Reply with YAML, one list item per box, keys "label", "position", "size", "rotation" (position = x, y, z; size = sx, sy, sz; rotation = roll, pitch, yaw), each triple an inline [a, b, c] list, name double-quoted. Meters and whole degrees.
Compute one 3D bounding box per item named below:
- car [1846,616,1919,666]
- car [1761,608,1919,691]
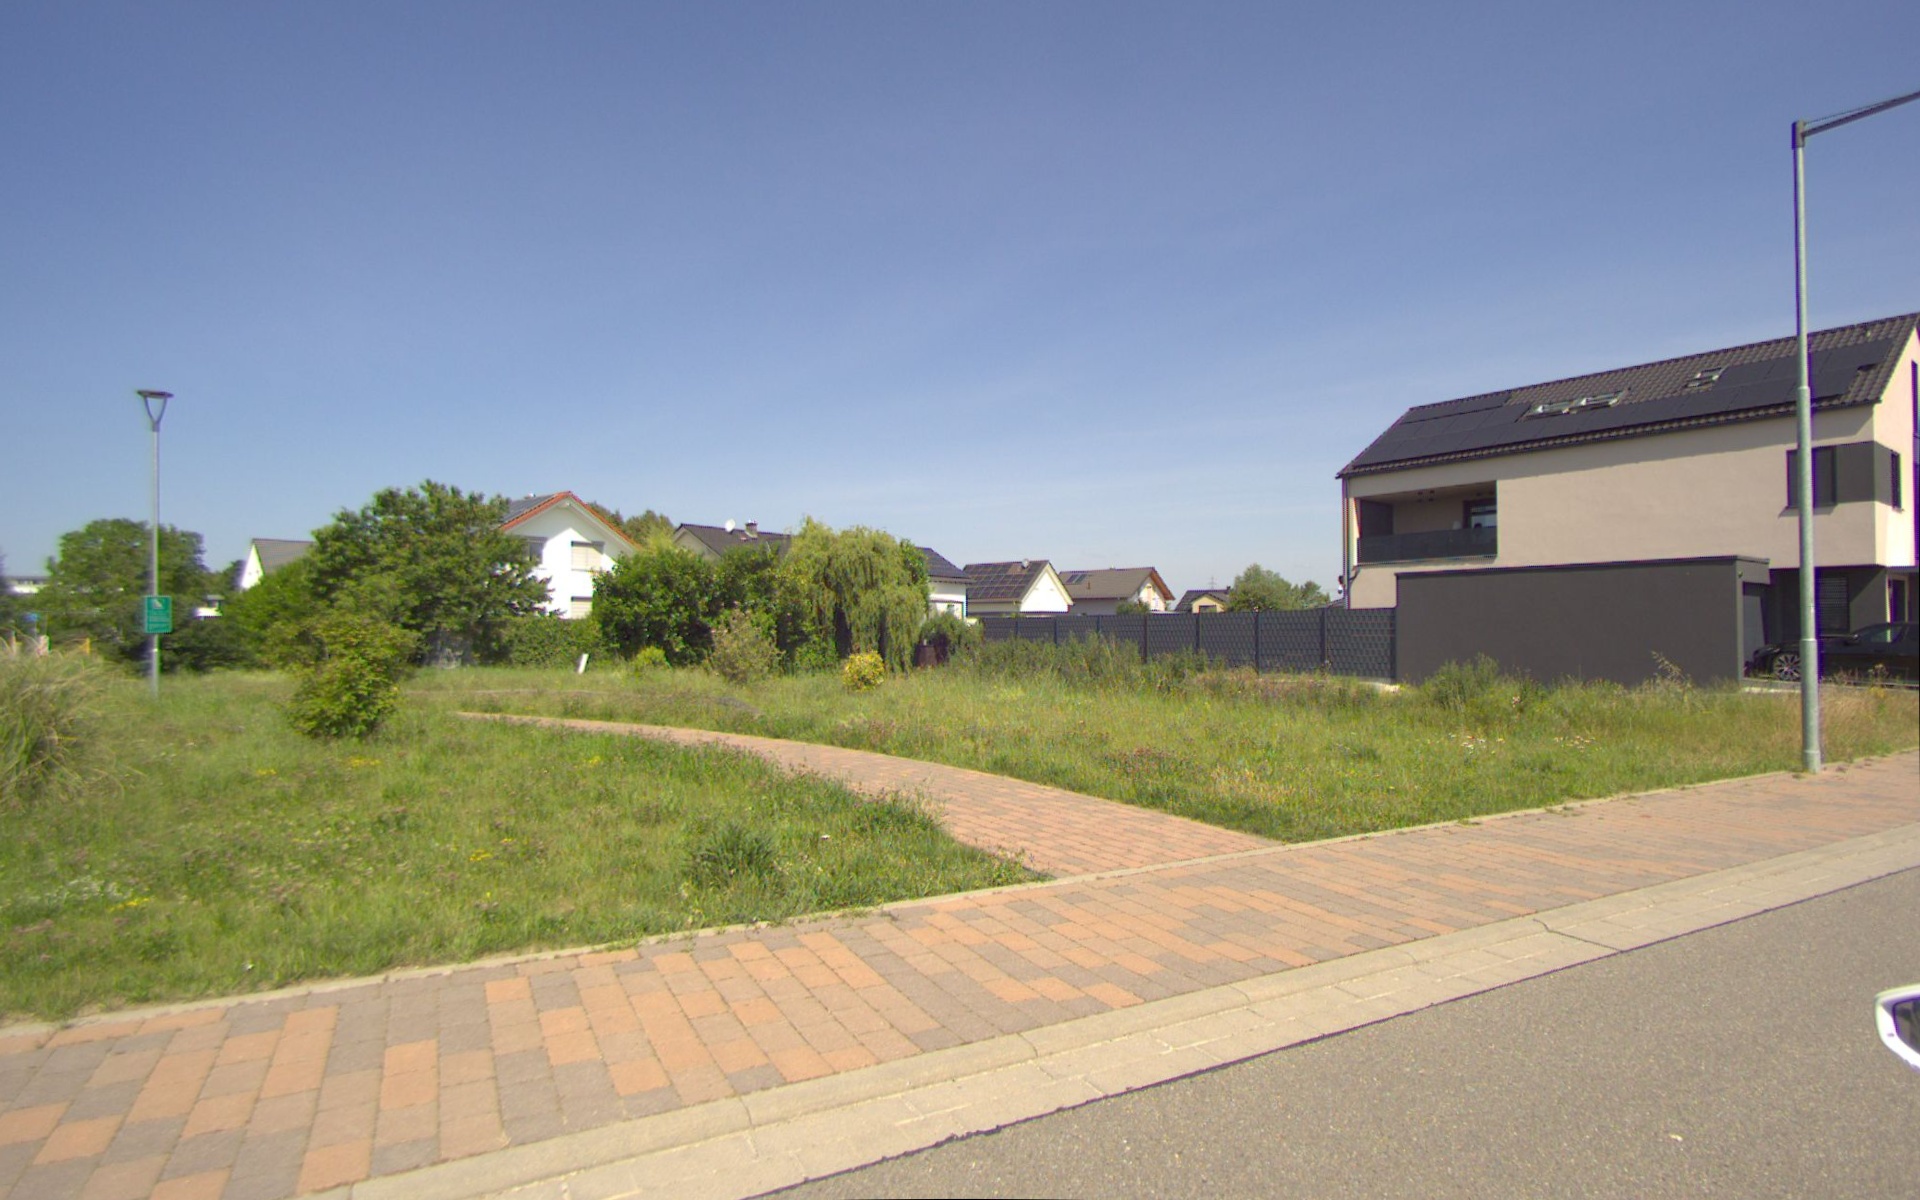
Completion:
- label: "car"
  position: [29.936, 1.258, 30.710]
  size: [1.736, 1.506, 3.962]
  rotation: [1, -1, -34]
- label: "car"
  position: [20.354, 1.064, 21.790]
  size: [1.754, 1.653, 4.345]
  rotation: [1, 1, -36]
